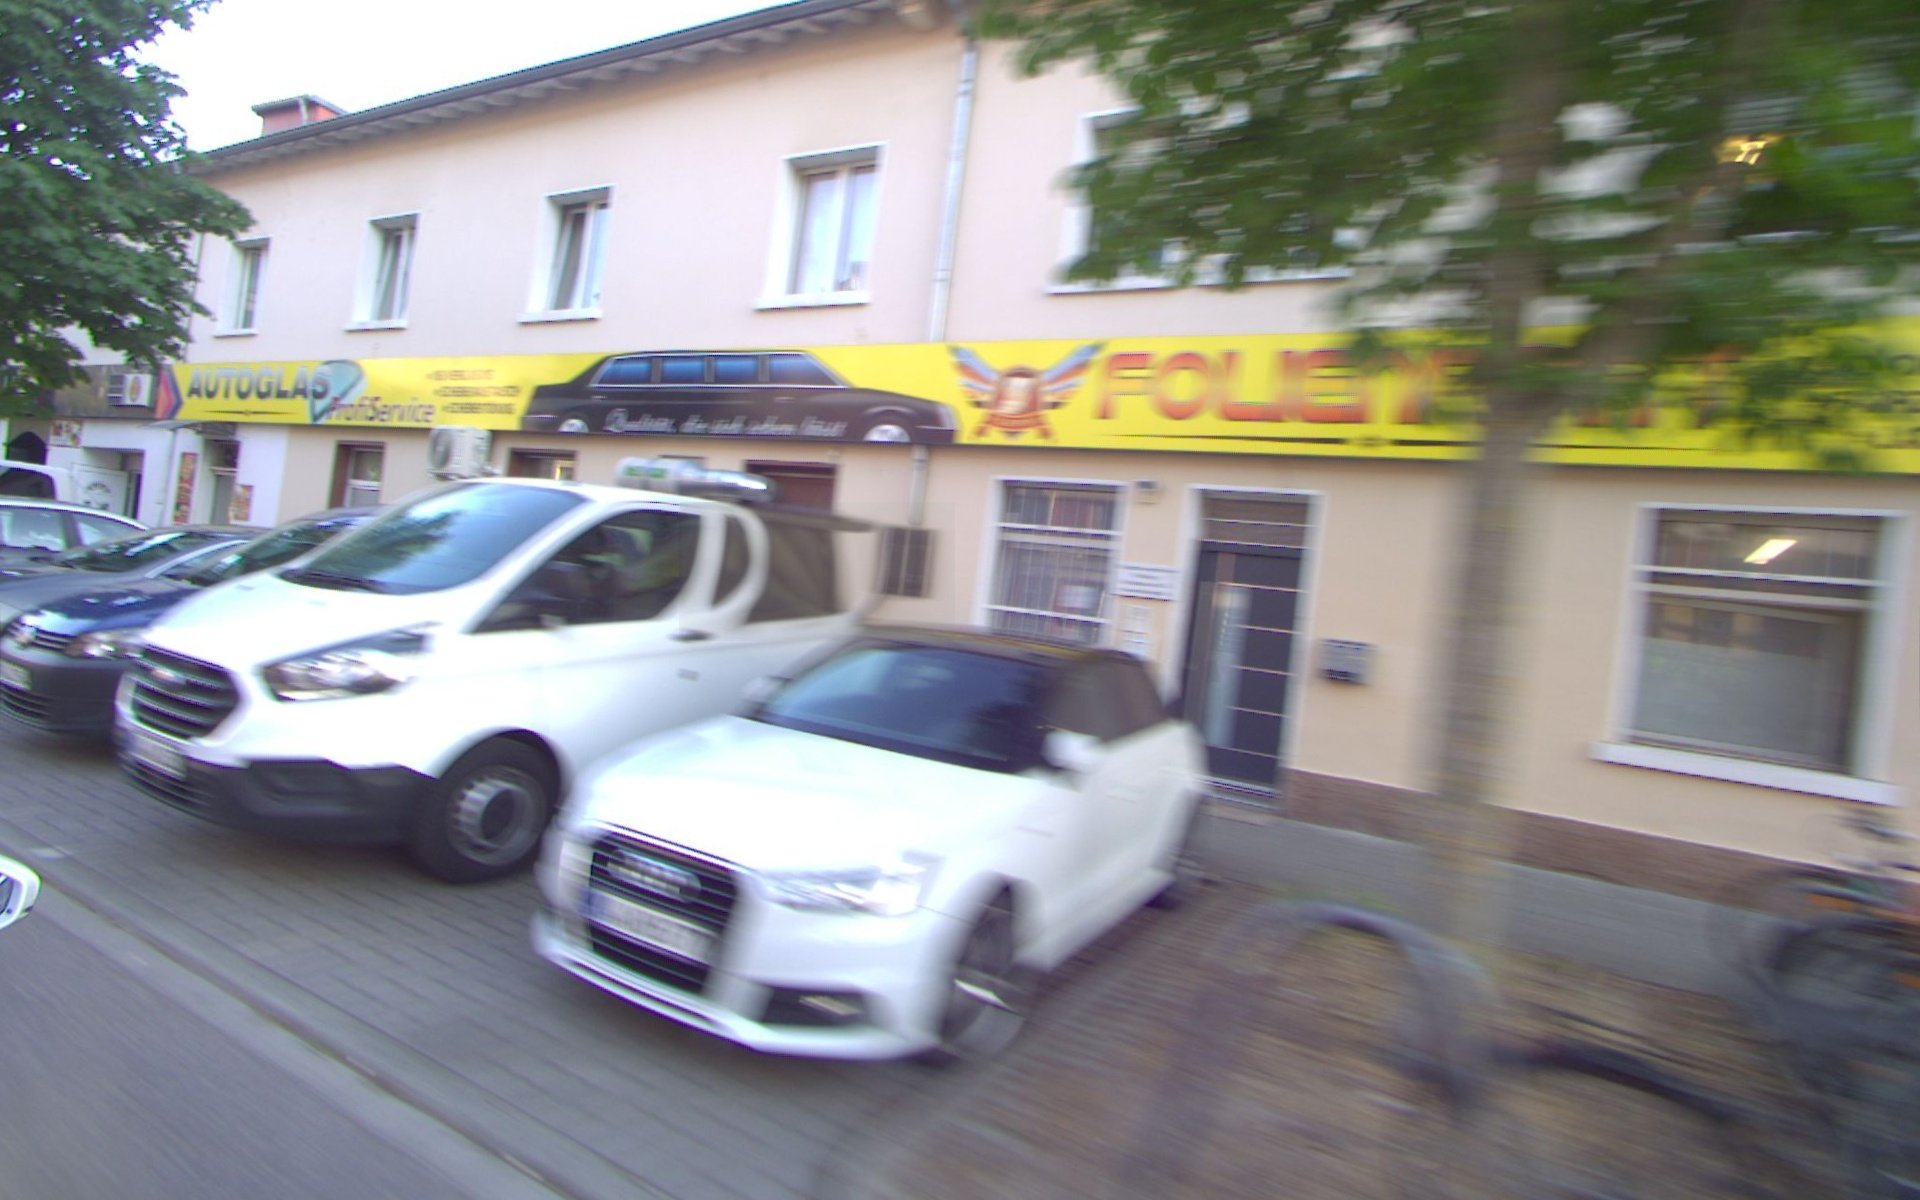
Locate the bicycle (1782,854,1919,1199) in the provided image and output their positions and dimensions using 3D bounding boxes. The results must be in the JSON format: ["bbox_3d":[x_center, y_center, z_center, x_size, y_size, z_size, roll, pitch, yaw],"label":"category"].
[{"bbox_3d":[3.429,1.417,2.708,1.754,1.036,0.357,7,-1,28],"label":"bicycle"}]

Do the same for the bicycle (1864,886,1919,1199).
[{"bbox_3d":[3.184,1.367,2.160,1.754,1.036,0.357,7,-1,28],"label":"bicycle"}]

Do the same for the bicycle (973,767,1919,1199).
[{"bbox_3d":[0.945,1.062,2.275,1.754,1.036,0.357,7,-1,28],"label":"bicycle"}]

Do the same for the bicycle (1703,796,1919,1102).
[{"bbox_3d":[4.067,1.462,3.920,1.754,1.036,0.357,7,-1,28],"label":"bicycle"}]

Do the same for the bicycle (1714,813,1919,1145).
[{"bbox_3d":[3.840,1.463,3.553,1.754,1.036,0.357,7,-1,28],"label":"bicycle"}]

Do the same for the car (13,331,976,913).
[{"bbox_3d":[-2.203,0.240,6.320,2.116,2.125,4.968,6,-2,33],"label":"car"}]

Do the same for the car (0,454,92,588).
[{"bbox_3d":[-15.149,-1.235,13.747,1.978,1.887,4.587,7,3,30],"label":"car"}]

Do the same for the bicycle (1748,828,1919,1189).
[{"bbox_3d":[3.641,1.426,3.121,1.754,1.036,0.357,7,-1,28],"label":"bicycle"}]

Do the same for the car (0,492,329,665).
[{"bbox_3d":[-8.997,-0.227,10.377,1.651,1.514,3.794,7,-1,28],"label":"car"}]

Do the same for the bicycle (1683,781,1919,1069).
[{"bbox_3d":[4.249,1.467,4.295,1.754,1.036,0.357,7,-1,28],"label":"bicycle"}]

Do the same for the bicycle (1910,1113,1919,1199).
[{"bbox_3d":[2.996,1.310,1.819,1.795,1.036,0.357,7,-1,28],"label":"bicycle"}]

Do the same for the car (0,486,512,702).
[{"bbox_3d":[-6.778,-0.051,9.036,1.965,1.515,4.728,7,1,28],"label":"car"}]

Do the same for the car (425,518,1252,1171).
[{"bbox_3d":[-0.019,0.797,4.771,1.692,1.584,4.043,7,-2,29],"label":"car"}]

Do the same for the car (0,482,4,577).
[{"bbox_3d":[-17.147,-1.261,14.879,1.860,1.516,3.988,7,2,30],"label":"car"}]

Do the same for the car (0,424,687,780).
[{"bbox_3d":[-4.479,0.039,7.668,1.967,1.882,4.295,7,1,32],"label":"car"}]
